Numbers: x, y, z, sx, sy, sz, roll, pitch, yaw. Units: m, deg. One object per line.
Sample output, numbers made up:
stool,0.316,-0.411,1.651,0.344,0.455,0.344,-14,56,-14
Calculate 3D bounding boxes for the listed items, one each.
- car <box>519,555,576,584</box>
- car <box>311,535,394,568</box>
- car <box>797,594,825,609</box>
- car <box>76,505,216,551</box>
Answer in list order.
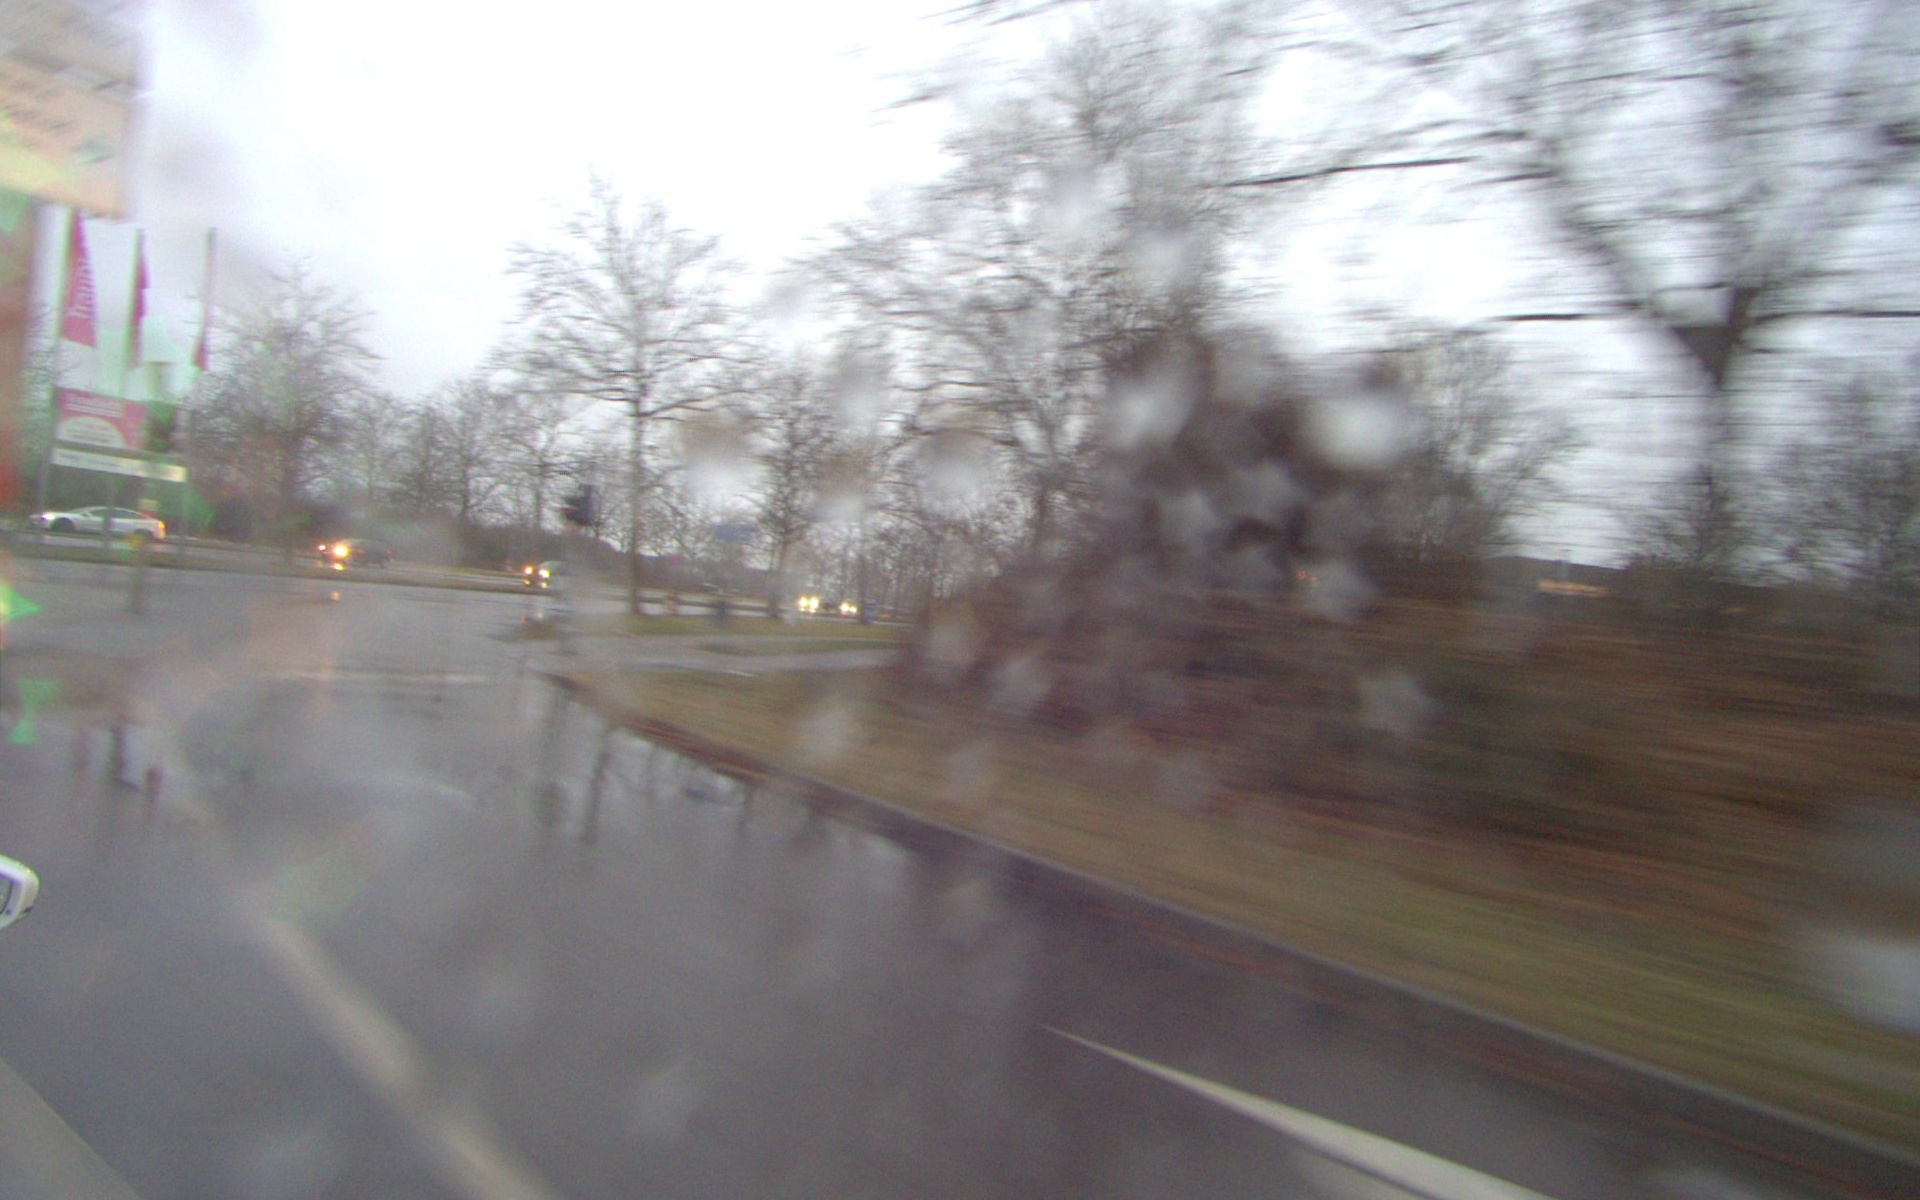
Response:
car,-30.160,-2.201,73.629,1.627,1.655,3.891,7,-1,18
car,-33.978,-2.684,56.365,1.606,1.325,4.003,7,-1,11
car,-17.304,0.147,116.938,1.627,1.361,3.891,7,-1,18
car,-37.573,-3.309,46.530,1.857,1.392,4.733,6,-1,41
